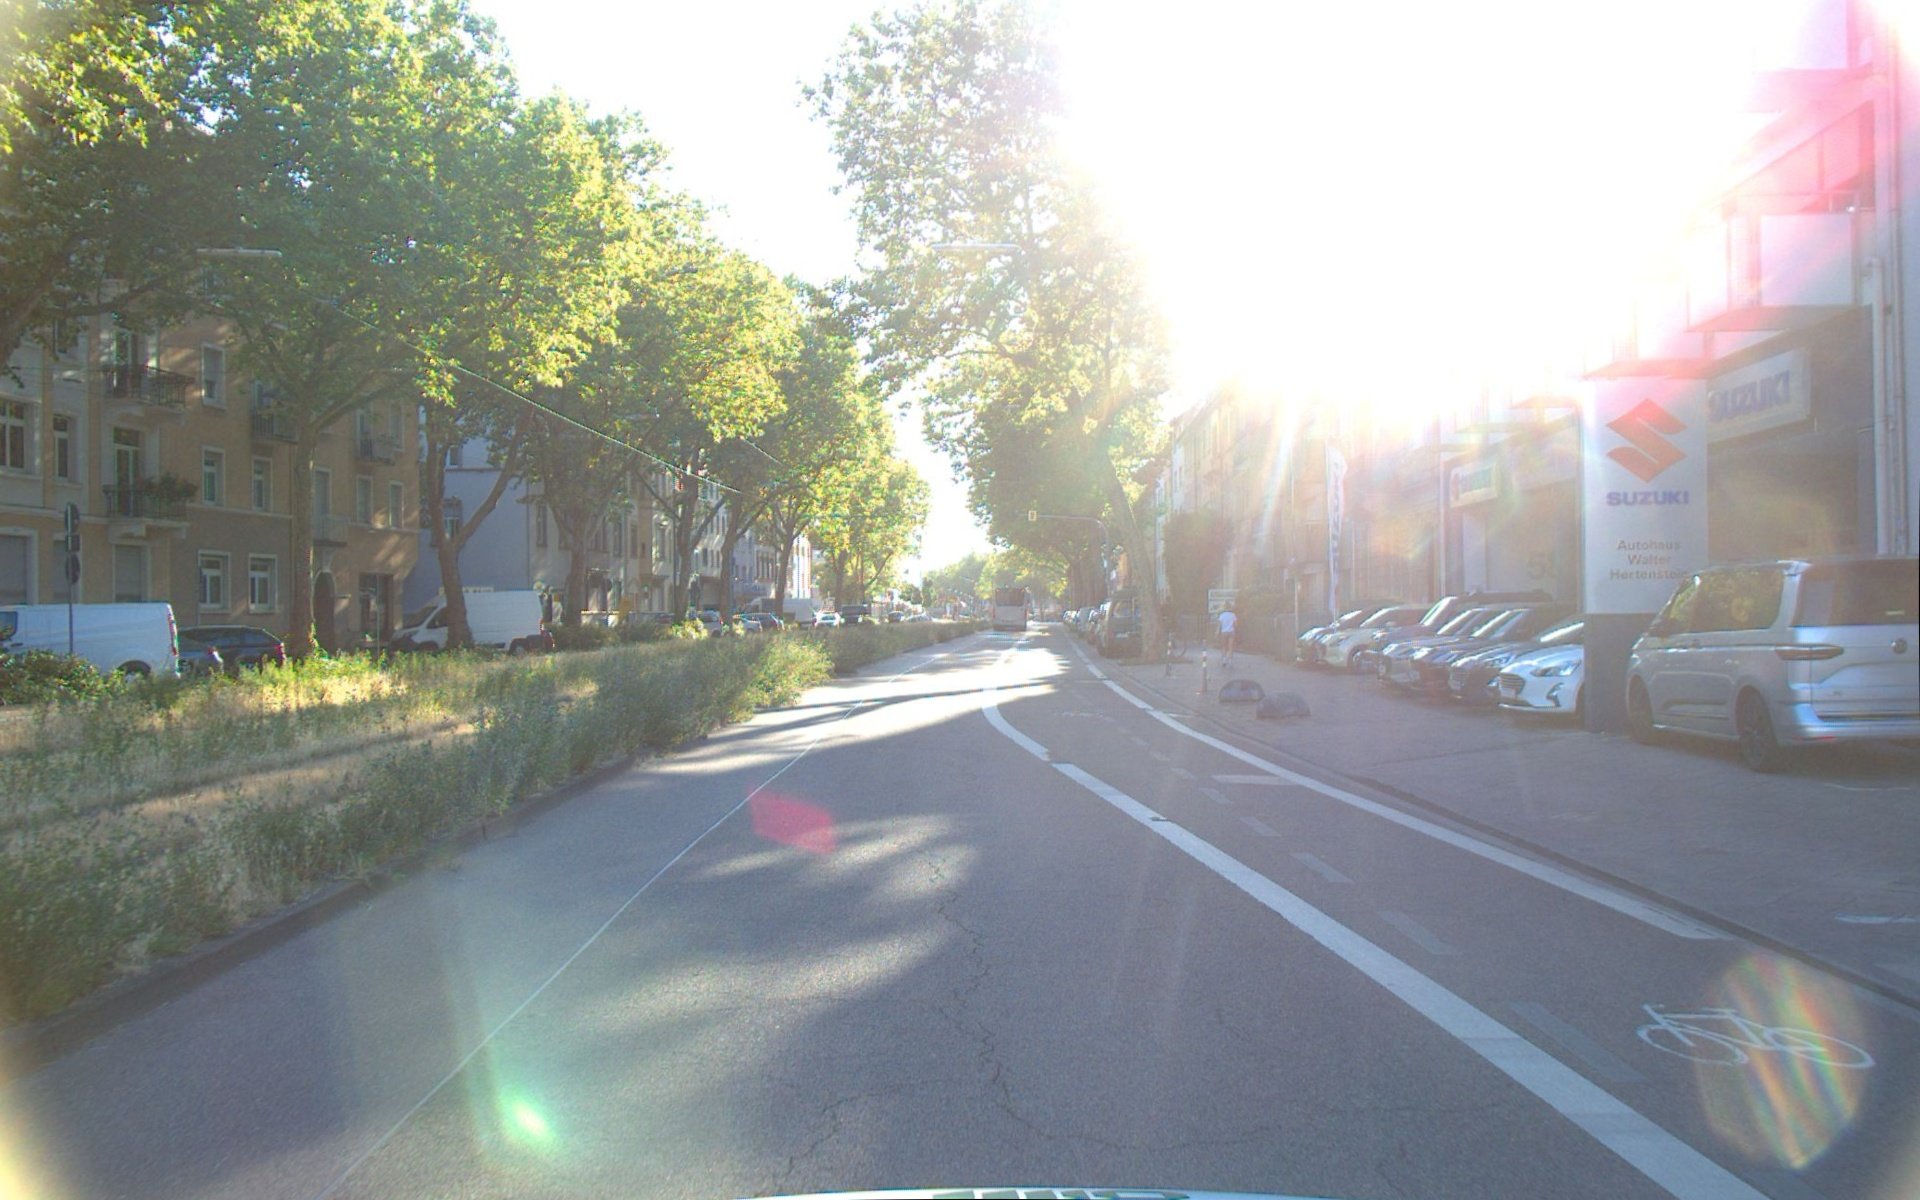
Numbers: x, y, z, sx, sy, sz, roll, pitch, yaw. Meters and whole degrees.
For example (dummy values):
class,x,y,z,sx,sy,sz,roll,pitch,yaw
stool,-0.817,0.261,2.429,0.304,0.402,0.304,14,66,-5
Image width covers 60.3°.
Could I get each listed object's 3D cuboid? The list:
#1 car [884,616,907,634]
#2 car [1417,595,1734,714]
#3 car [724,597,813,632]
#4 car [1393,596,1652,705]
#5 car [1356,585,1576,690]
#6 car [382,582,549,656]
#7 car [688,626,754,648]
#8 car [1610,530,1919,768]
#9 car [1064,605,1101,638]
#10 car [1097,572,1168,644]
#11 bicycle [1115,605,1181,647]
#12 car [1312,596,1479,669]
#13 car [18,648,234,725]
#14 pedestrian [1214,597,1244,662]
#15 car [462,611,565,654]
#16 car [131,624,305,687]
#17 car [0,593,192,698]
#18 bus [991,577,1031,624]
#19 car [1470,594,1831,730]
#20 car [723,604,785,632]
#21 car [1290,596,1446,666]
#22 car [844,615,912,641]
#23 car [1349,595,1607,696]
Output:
class,x,y,z,sx,sy,sz,roll,pitch,yaw
car,-6.013,2.278,153.661,1.752,1.601,4.002,-1,0,3
car,8.581,0.733,23.299,3.789,1.540,1.809,-1,0,1
car,-15.340,1.157,132.349,6.830,2.725,2.174,-1,-1,-18
car,8.577,0.744,25.410,3.349,1.552,1.740,-1,0,-1
car,9.044,0.651,29.769,3.505,1.750,1.683,-1,1,4
car,-17.939,0.646,60.119,5.456,2.573,2.096,-1,0,-40
car,-15.520,2.402,107.278,3.943,1.380,1.570,0,-1,-29
car,8.111,0.442,16.293,1.852,1.983,4.903,-1,-1,5
car,7.179,1.253,96.345,1.707,1.801,4.398,-1,-1,10
car,5.744,0.301,55.720,1.952,2.297,5.236,-1,-1,2
bicycle,5.340,0.727,46.997,1.806,1.163,0.348,-1,-1,2
car,9.736,0.736,37.188,3.346,1.545,1.758,-1,-1,4
car,-18.928,1.911,37.610,4.137,1.517,1.697,-1,0,-40
pedestrian,6.938,0.753,42.692,0.649,1.657,0.923,-1,-1,2
car,-17.771,1.274,65.837,3.658,1.492,1.719,-2,1,-29
car,-18.607,1.356,41.558,3.693,1.447,1.697,-1,0,-40
car,-19.197,0.931,34.878,5.197,2.102,1.697,-1,0,-40
bus,3.748,0.082,123.093,2.775,3.292,8.182,-1,-1,0
car,8.574,0.738,20.755,3.735,1.527,1.913,-1,1,-3
car,-14.552,1.275,116.781,3.944,1.728,1.838,-3,0,-29
car,9.681,0.730,39.385,3.348,1.573,1.442,-1,-1,0
car,-5.805,1.958,116.726,4.669,1.723,1.873,-1,-1,-6
car,8.604,0.736,27.720,3.740,1.567,1.859,-1,0,1
